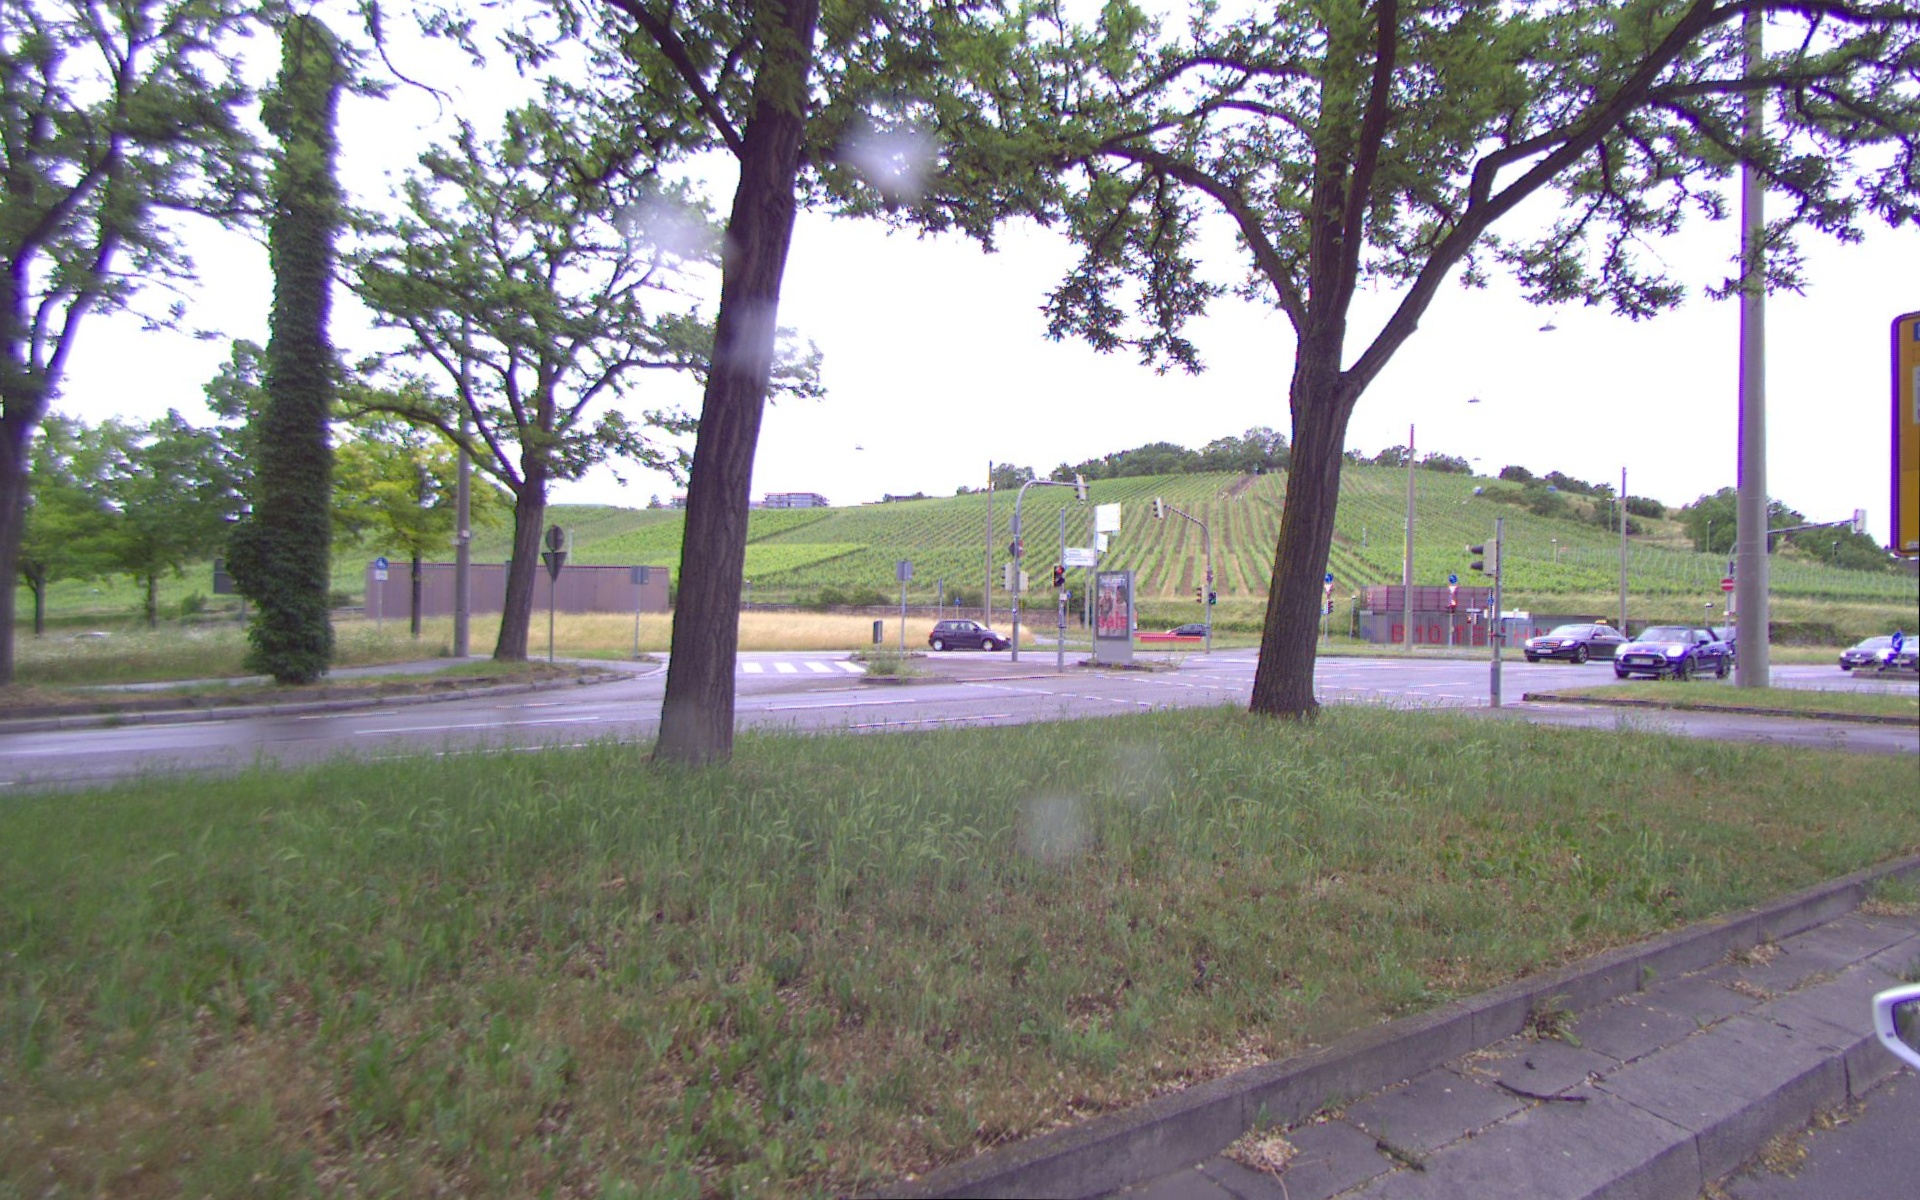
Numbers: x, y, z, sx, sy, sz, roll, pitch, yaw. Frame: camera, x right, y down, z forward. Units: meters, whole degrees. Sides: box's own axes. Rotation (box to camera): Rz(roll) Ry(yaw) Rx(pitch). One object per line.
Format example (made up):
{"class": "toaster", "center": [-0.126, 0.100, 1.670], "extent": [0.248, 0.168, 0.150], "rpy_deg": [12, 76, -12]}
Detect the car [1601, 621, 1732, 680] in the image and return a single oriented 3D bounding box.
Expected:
{"class": "car", "center": [19.336, 1.395, 27.449], "extent": [3.846, 1.414, 1.773], "rpy_deg": [3, 0, -37]}

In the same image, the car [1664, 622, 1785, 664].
{"class": "car", "center": [26.862, 1.462, 35.281], "extent": [4.614, 1.381, 1.815], "rpy_deg": [1, -1, -31]}

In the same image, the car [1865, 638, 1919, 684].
{"class": "car", "center": [35.366, 2.241, 36.650], "extent": [4.830, 1.509, 1.894], "rpy_deg": [2, 0, -27]}

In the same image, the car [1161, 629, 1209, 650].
{"class": "car", "center": [19.069, 3.363, 85.035], "extent": [3.694, 1.538, 1.861], "rpy_deg": [2, 1, 20]}

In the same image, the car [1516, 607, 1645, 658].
{"class": "car", "center": [22.287, 1.168, 36.058], "extent": [4.506, 1.645, 1.823], "rpy_deg": [2, 1, -26]}

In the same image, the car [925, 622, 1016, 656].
{"class": "car", "center": [0.499, 1.799, 46.987], "extent": [3.919, 1.307, 1.800], "rpy_deg": [2, 0, 15]}

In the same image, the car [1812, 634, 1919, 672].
{"class": "car", "center": [37.749, 2.172, 41.872], "extent": [4.608, 1.492, 1.818], "rpy_deg": [1, -1, -27]}
